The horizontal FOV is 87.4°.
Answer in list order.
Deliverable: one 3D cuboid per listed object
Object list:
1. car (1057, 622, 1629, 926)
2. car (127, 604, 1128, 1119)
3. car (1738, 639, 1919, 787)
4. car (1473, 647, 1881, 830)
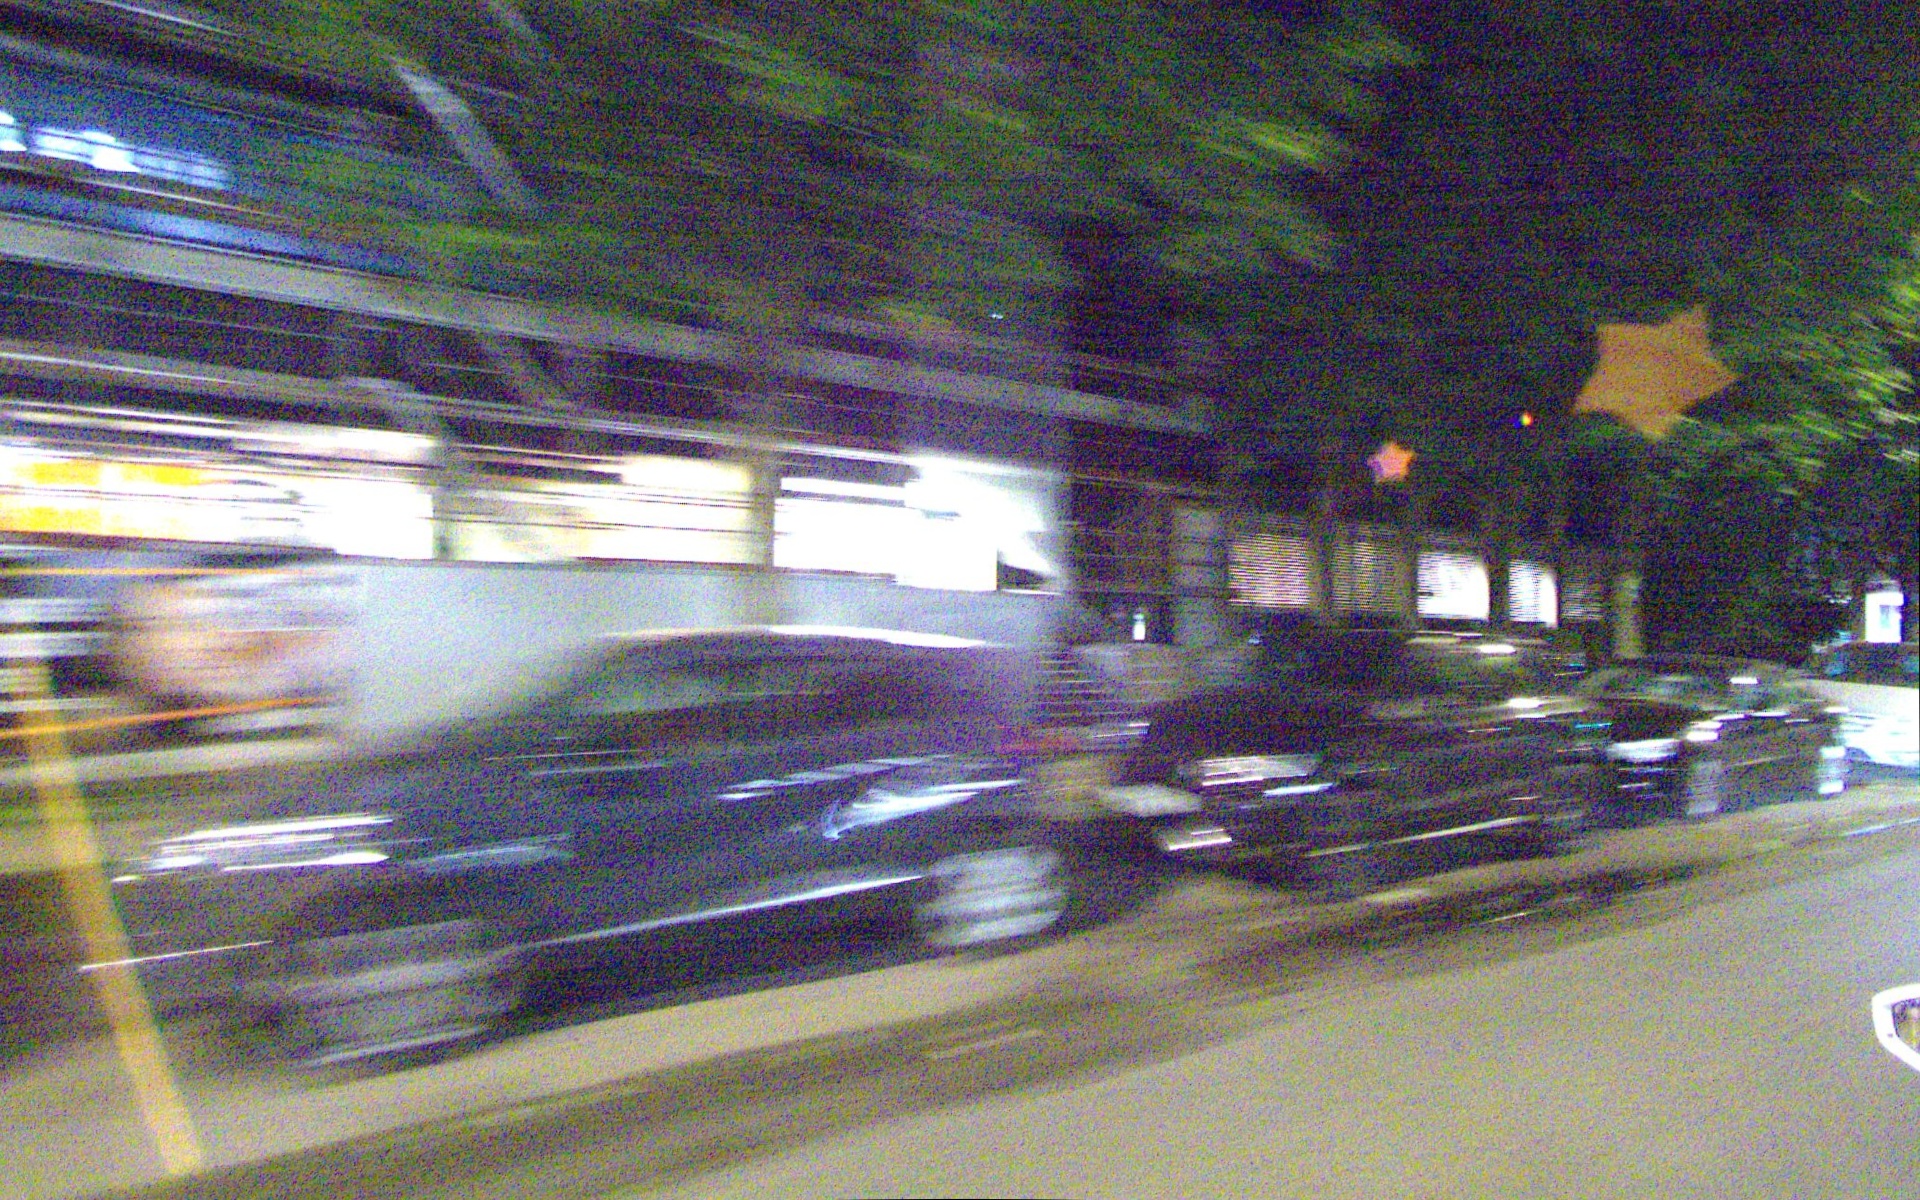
[{"bbox_3d":[2.932,1.021,7.387,4.251,1.628,1.732,2,0,-32],"label":"car"},{"bbox_3d":[-1.309,0.886,4.991,4.067,1.628,1.733,2,0,-30],"label":"car"},{"bbox_3d":[11.886,1.309,12.796,4.157,1.522,1.707,1,1,-31],"label":"car"},{"bbox_3d":[7.404,1.259,10.243,4.580,1.430,1.696,2,0,-31],"label":"car"}]
